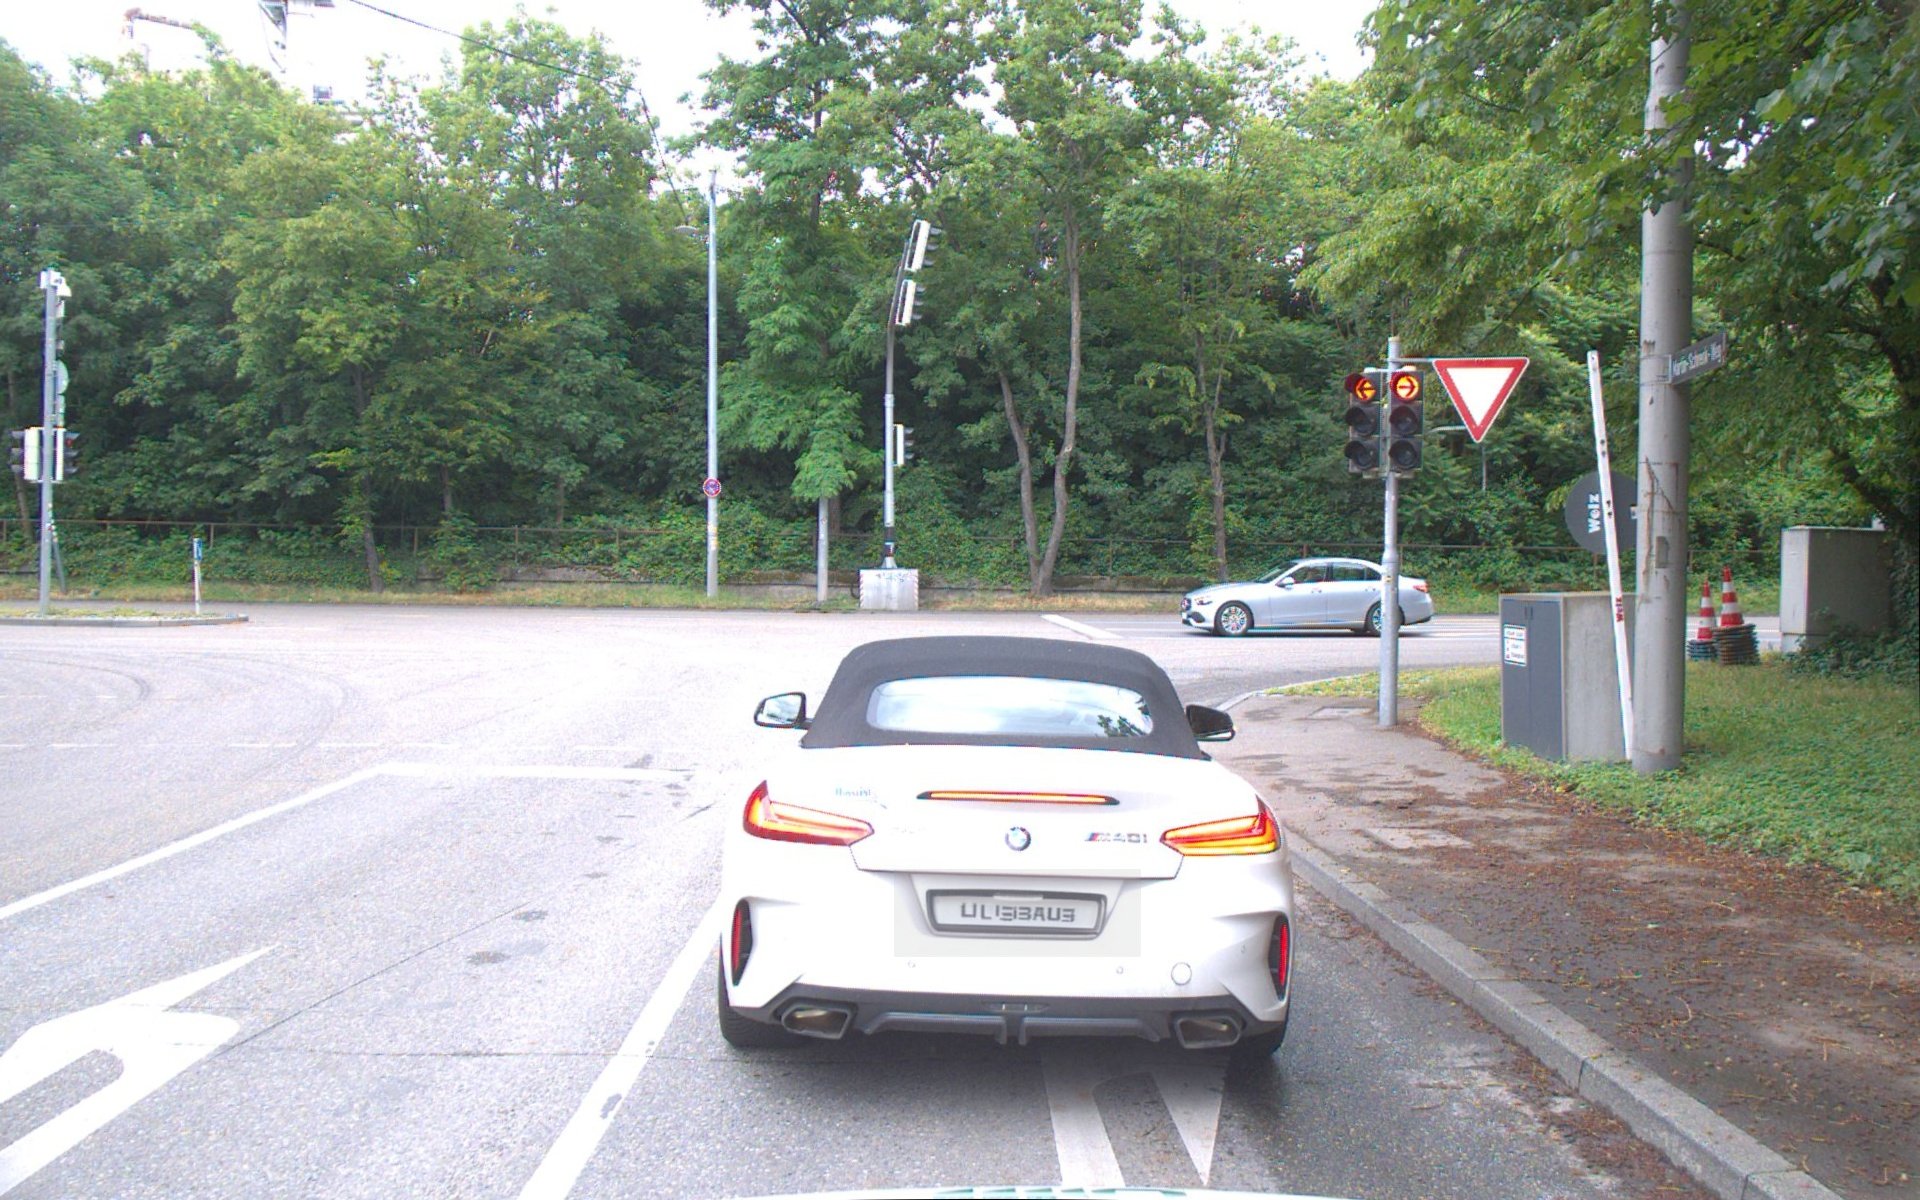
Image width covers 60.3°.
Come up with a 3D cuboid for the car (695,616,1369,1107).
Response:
[{"bbox_3d":[0.109,0.751,6.456,1.791,1.279,3.997,2,-1,-3],"label":"car"}]

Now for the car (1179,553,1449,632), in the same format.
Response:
[{"bbox_3d":[6.601,-0.162,31.141,4.657,1.356,1.833,1,3,-4],"label":"car"}]
